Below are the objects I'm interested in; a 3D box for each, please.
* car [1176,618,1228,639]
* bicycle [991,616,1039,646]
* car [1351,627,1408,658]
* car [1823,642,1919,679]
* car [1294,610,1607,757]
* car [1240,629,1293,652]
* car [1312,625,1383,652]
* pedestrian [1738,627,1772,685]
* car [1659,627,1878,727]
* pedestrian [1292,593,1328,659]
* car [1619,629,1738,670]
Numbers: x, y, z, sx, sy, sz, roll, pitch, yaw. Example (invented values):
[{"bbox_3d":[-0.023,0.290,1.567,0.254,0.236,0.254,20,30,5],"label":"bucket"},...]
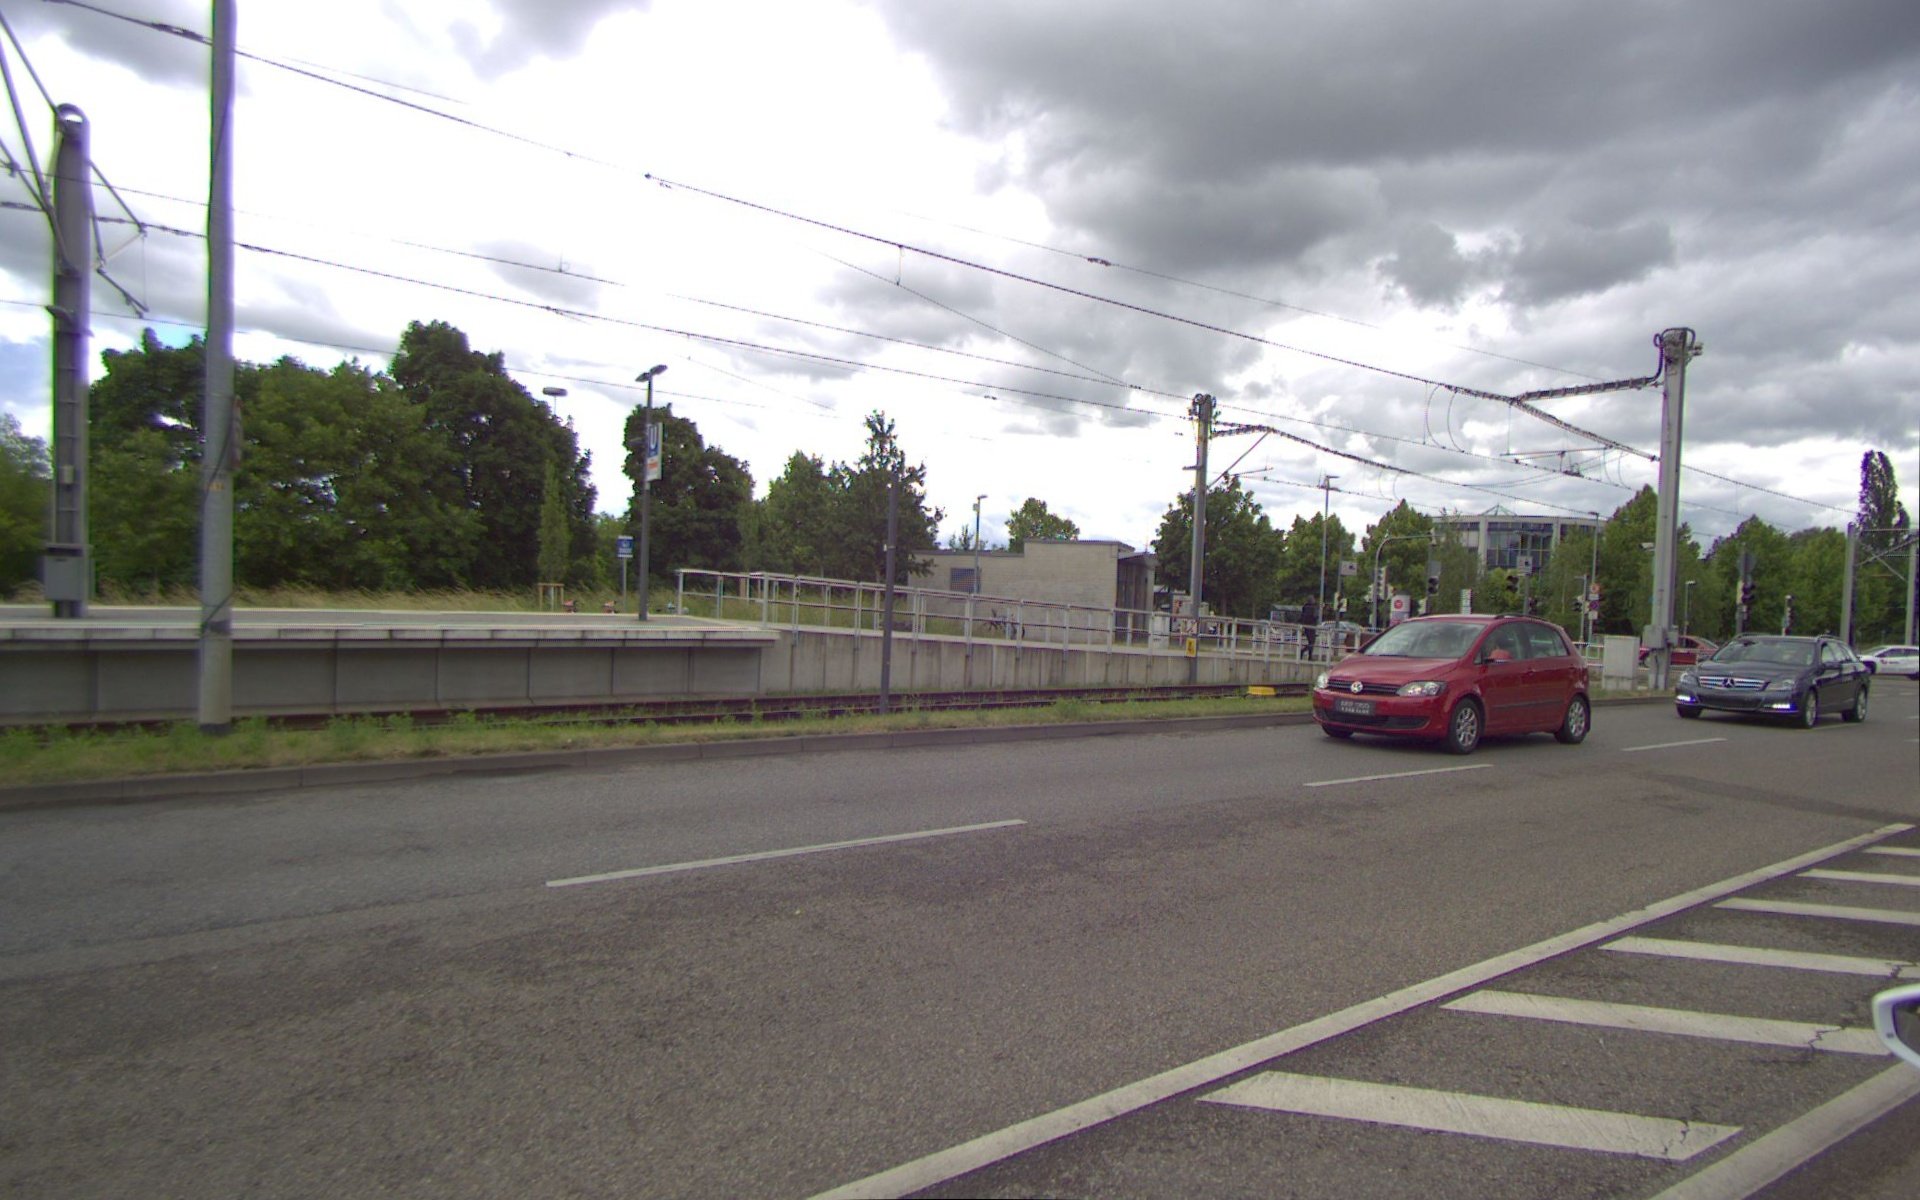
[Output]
[{"bbox_3d":[17.189,2.003,71.554,1.698,1.327,3.729,2,0,-22],"label":"car"},{"bbox_3d":[2.094,1.173,38.122,1.762,1.029,0.411,2,0,18],"label":"bicycle"},{"bbox_3d":[29.589,2.964,70.874,1.734,2.041,3.361,-1,1,-32],"label":"car"},{"bbox_3d":[41.797,2.729,45.538,3.672,1.528,1.781,-1,1,19],"label":"car"},{"bbox_3d":[6.105,0.927,12.366,4.045,1.508,1.692,2,0,-34],"label":"car"},{"bbox_3d":[19.809,2.603,64.966,1.530,1.327,3.276,2,0,-22],"label":"car"},{"bbox_3d":[22.481,2.210,58.431,1.496,1.395,3.979,2,0,-22],"label":"car"},{"bbox_3d":[22.019,1.553,27.817,0.640,1.577,0.354,-1,1,4],"label":"pedestrian"},{"bbox_3d":[13.808,1.229,17.067,4.499,1.458,1.680,2,0,-35],"label":"car"},{"bbox_3d":[9.995,0.732,28.657,0.785,1.852,0.568,2,0,-33],"label":"pedestrian"},{"bbox_3d":[31.720,2.171,44.426,1.717,1.536,3.958,4,-1,-37],"label":"car"}]
